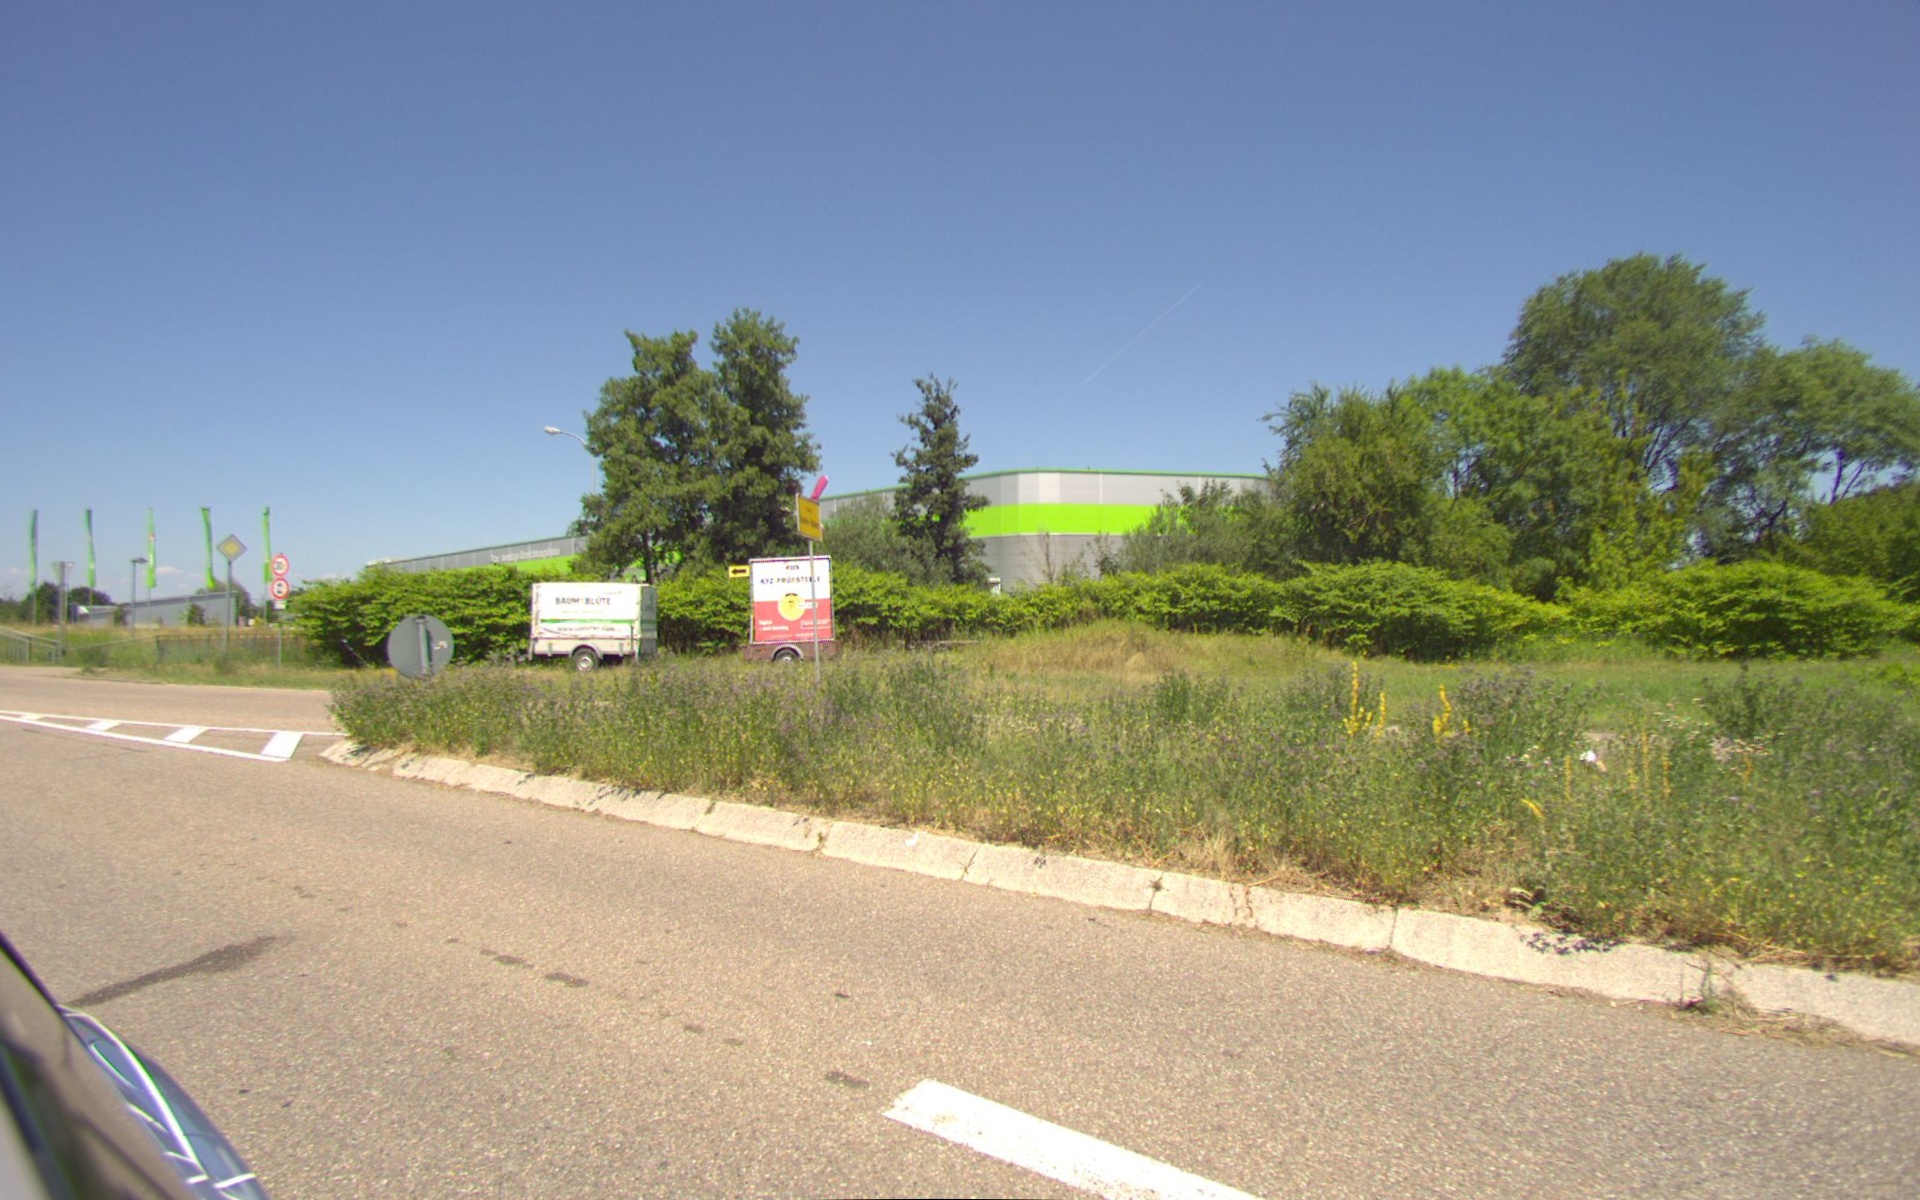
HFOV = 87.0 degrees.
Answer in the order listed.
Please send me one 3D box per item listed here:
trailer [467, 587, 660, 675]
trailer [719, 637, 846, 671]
[{"bbox_3d":[-9.430,0.718,24.280,3.905,2.029,1.856,0,0,1],"label":"trailer"},{"bbox_3d":[-4.272,1.299,24.581,2.812,0.744,1.565,0,0,1],"label":"trailer"}]
